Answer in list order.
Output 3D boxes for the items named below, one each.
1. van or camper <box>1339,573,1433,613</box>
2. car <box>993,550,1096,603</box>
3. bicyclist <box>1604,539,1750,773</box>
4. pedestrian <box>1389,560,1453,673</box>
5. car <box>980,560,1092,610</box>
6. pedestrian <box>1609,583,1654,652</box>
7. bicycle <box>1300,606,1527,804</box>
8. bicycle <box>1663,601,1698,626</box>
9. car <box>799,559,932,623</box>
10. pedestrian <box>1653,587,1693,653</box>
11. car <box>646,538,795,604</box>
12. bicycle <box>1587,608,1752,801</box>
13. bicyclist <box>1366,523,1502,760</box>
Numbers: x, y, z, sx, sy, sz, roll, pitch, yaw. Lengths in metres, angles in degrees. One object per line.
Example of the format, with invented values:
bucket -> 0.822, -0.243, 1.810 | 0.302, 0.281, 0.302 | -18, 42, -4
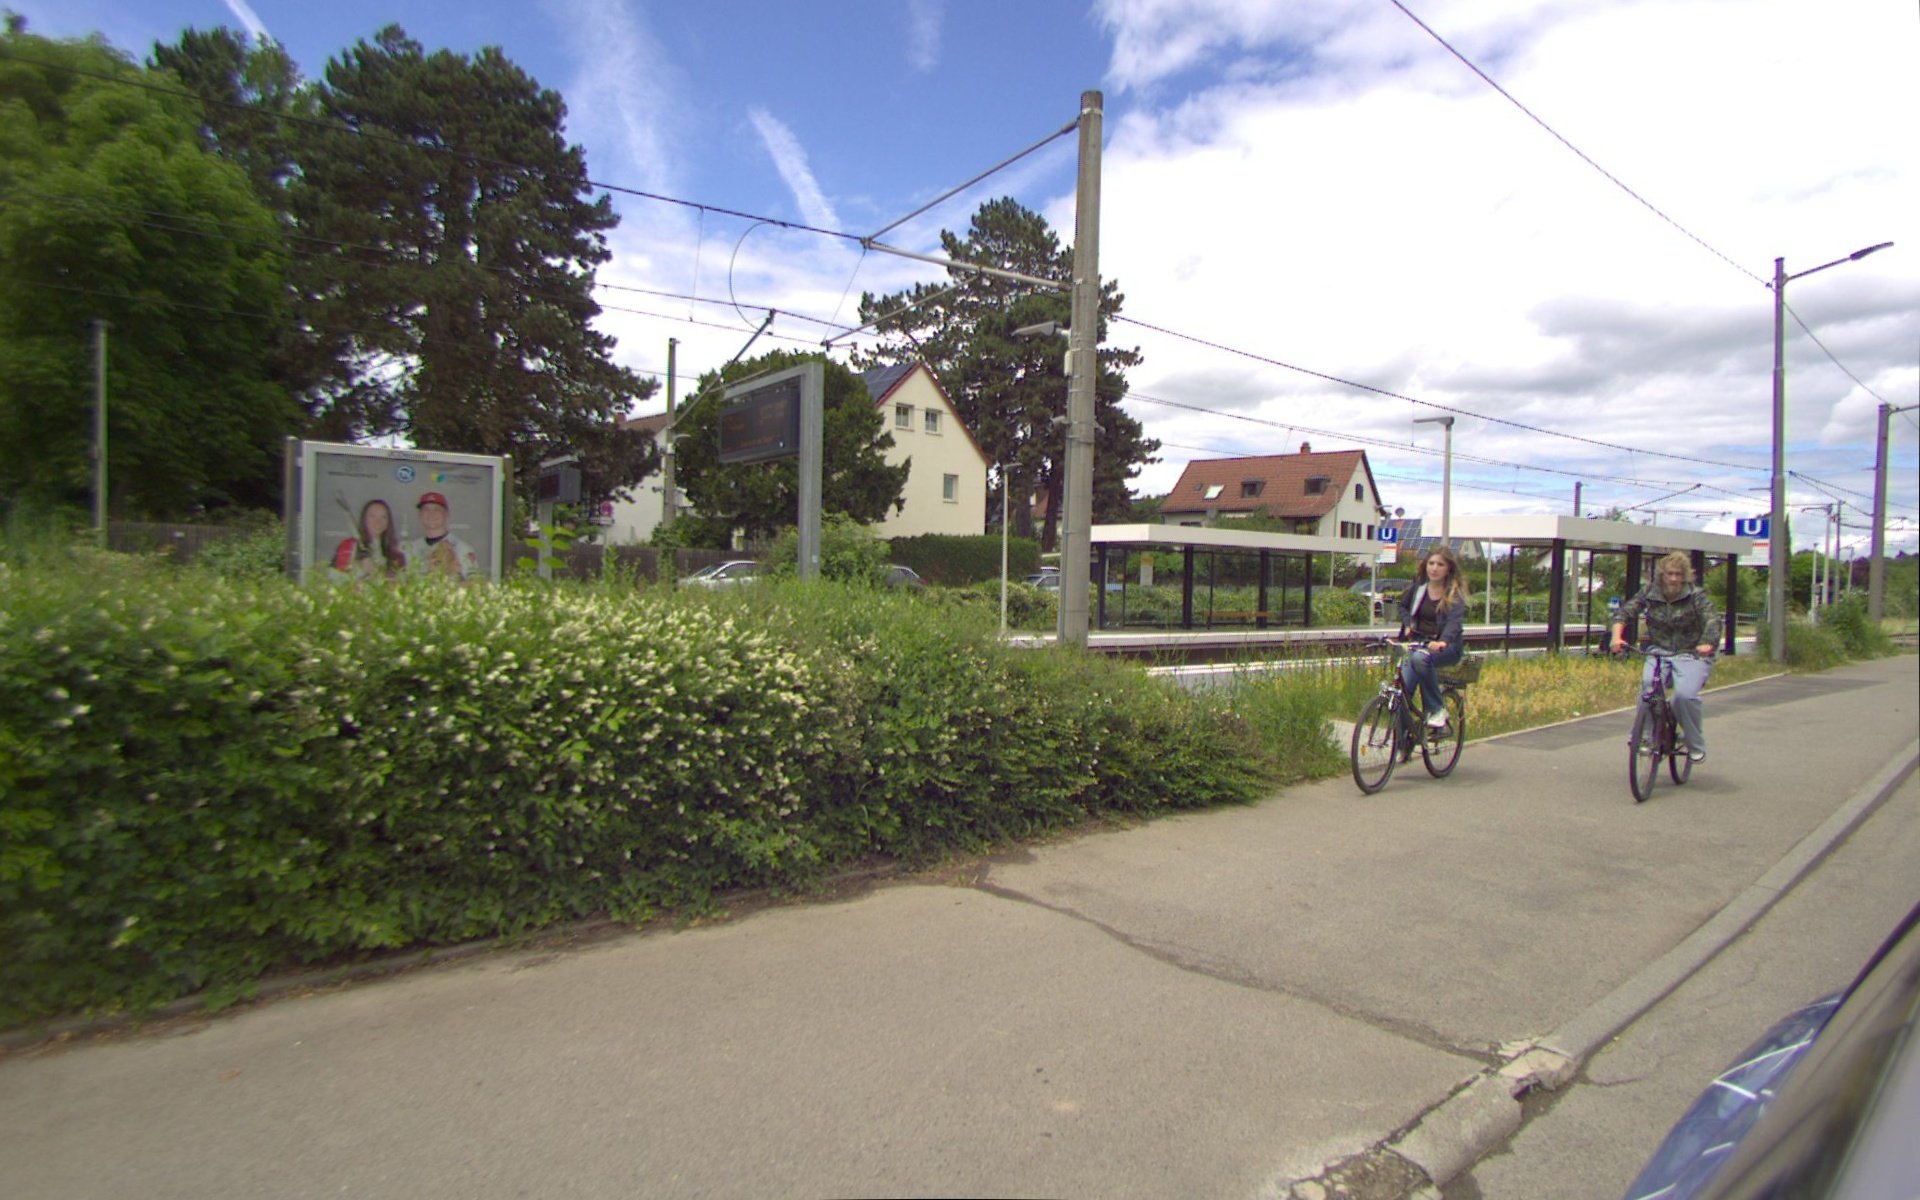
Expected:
van or camper -> 20.971, -0.331, 49.731 | 4.951, 1.848, 1.912 | 0, 1, -35
car -> 3.550, -1.040, 43.304 | 1.716, 1.967, 4.338 | 1, 4, -41
bicyclist -> 5.352, 0.385, 7.557 | 0.744, 1.632, 0.718 | 1, 0, -41
pedestrian -> 7.319, 0.260, 16.083 | 0.641, 1.747, 0.641 | 1, 0, -10
car -> 2.788, -0.526, 36.627 | 3.931, 1.683, 1.779 | 1, 1, -42
pedestrian -> 13.932, 0.360, 20.999 | 0.726, 1.397, 0.583 | 1, 0, -40
bicycle -> 3.443, 0.689, 7.541 | 2.354, 1.262, 0.619 | 1, 0, -42
bicycle -> 40.750, 0.762, 57.217 | 2.491, 1.052, 0.543 | 7, 18, -37
car -> -2.981, -0.288, 32.253 | 3.860, 1.938, 1.738 | -1, 0, -36
pedestrian -> 15.545, 0.420, 22.060 | 0.388, 1.358, 0.489 | -3, 8, -18
car -> -6.944, -0.794, 29.464 | 3.859, 1.773, 1.738 | 1, 0, -35
bicycle -> 5.339, 0.702, 7.560 | 2.019, 1.262, 0.547 | 1, 0, -42
bicyclist -> 3.580, 0.289, 7.643 | 0.804, 1.670, 0.640 | 1, 0, -41
